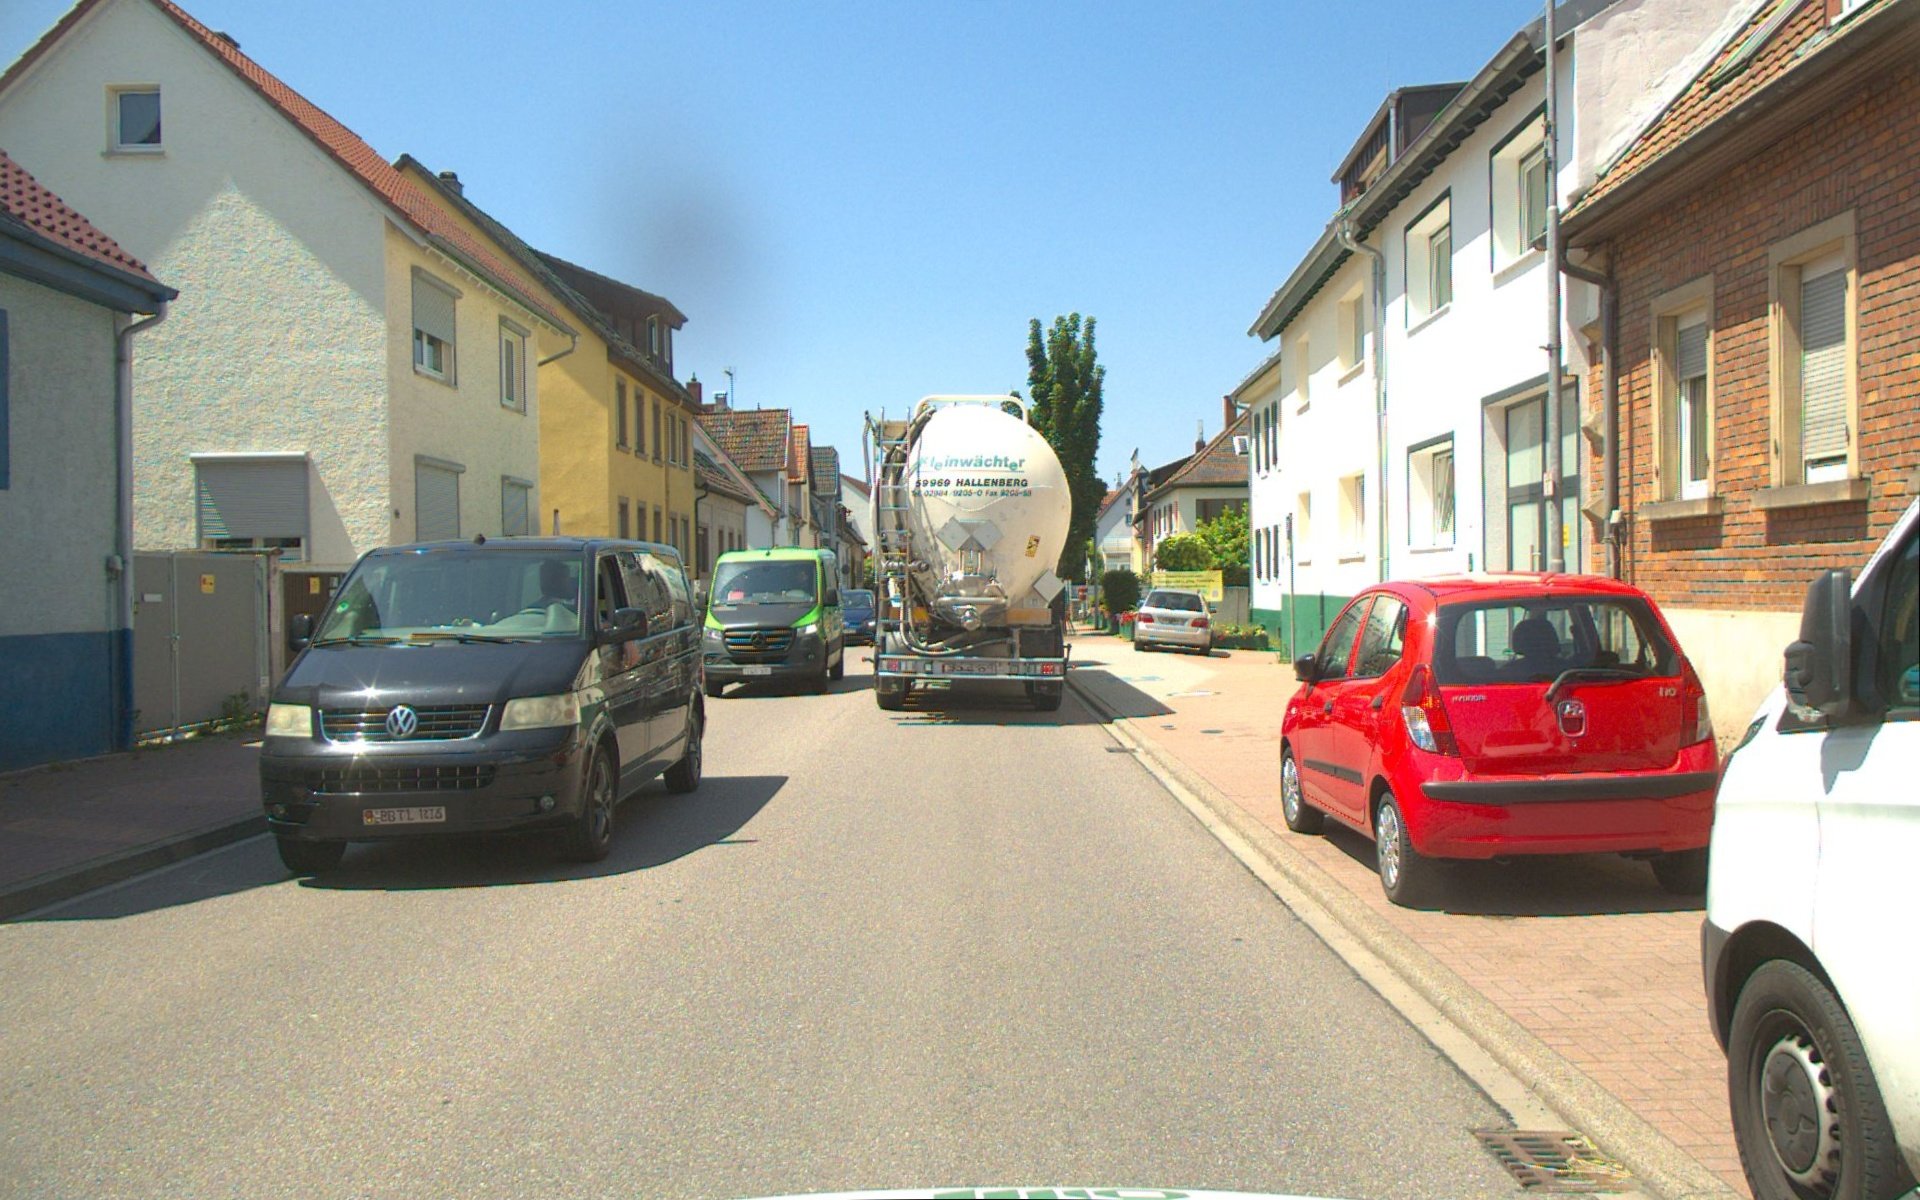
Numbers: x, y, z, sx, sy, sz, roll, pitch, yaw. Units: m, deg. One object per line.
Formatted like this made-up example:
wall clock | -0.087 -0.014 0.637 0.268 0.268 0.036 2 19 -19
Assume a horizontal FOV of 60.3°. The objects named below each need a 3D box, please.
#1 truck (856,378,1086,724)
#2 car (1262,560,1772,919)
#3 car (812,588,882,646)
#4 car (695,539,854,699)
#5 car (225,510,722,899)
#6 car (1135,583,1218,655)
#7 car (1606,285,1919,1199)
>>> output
truck | 0.064 -0.567 23.385 2.677 4.029 8.139 0 0 -1
car | 2.827 0.608 9.229 1.577 1.554 3.676 -2 0 0
car | -3.267 0.464 48.578 1.729 1.563 4.078 -2 0 0
car | -3.053 0.267 28.478 2.009 2.394 6.081 -2 1 0
car | -2.925 0.531 11.256 1.843 1.977 5.117 -2 0 -1
car | 5.245 0.395 39.692 1.776 1.488 4.889 3 1 9
car | 2.800 0.390 2.165 1.907 2.004 4.784 -2 0 -1
